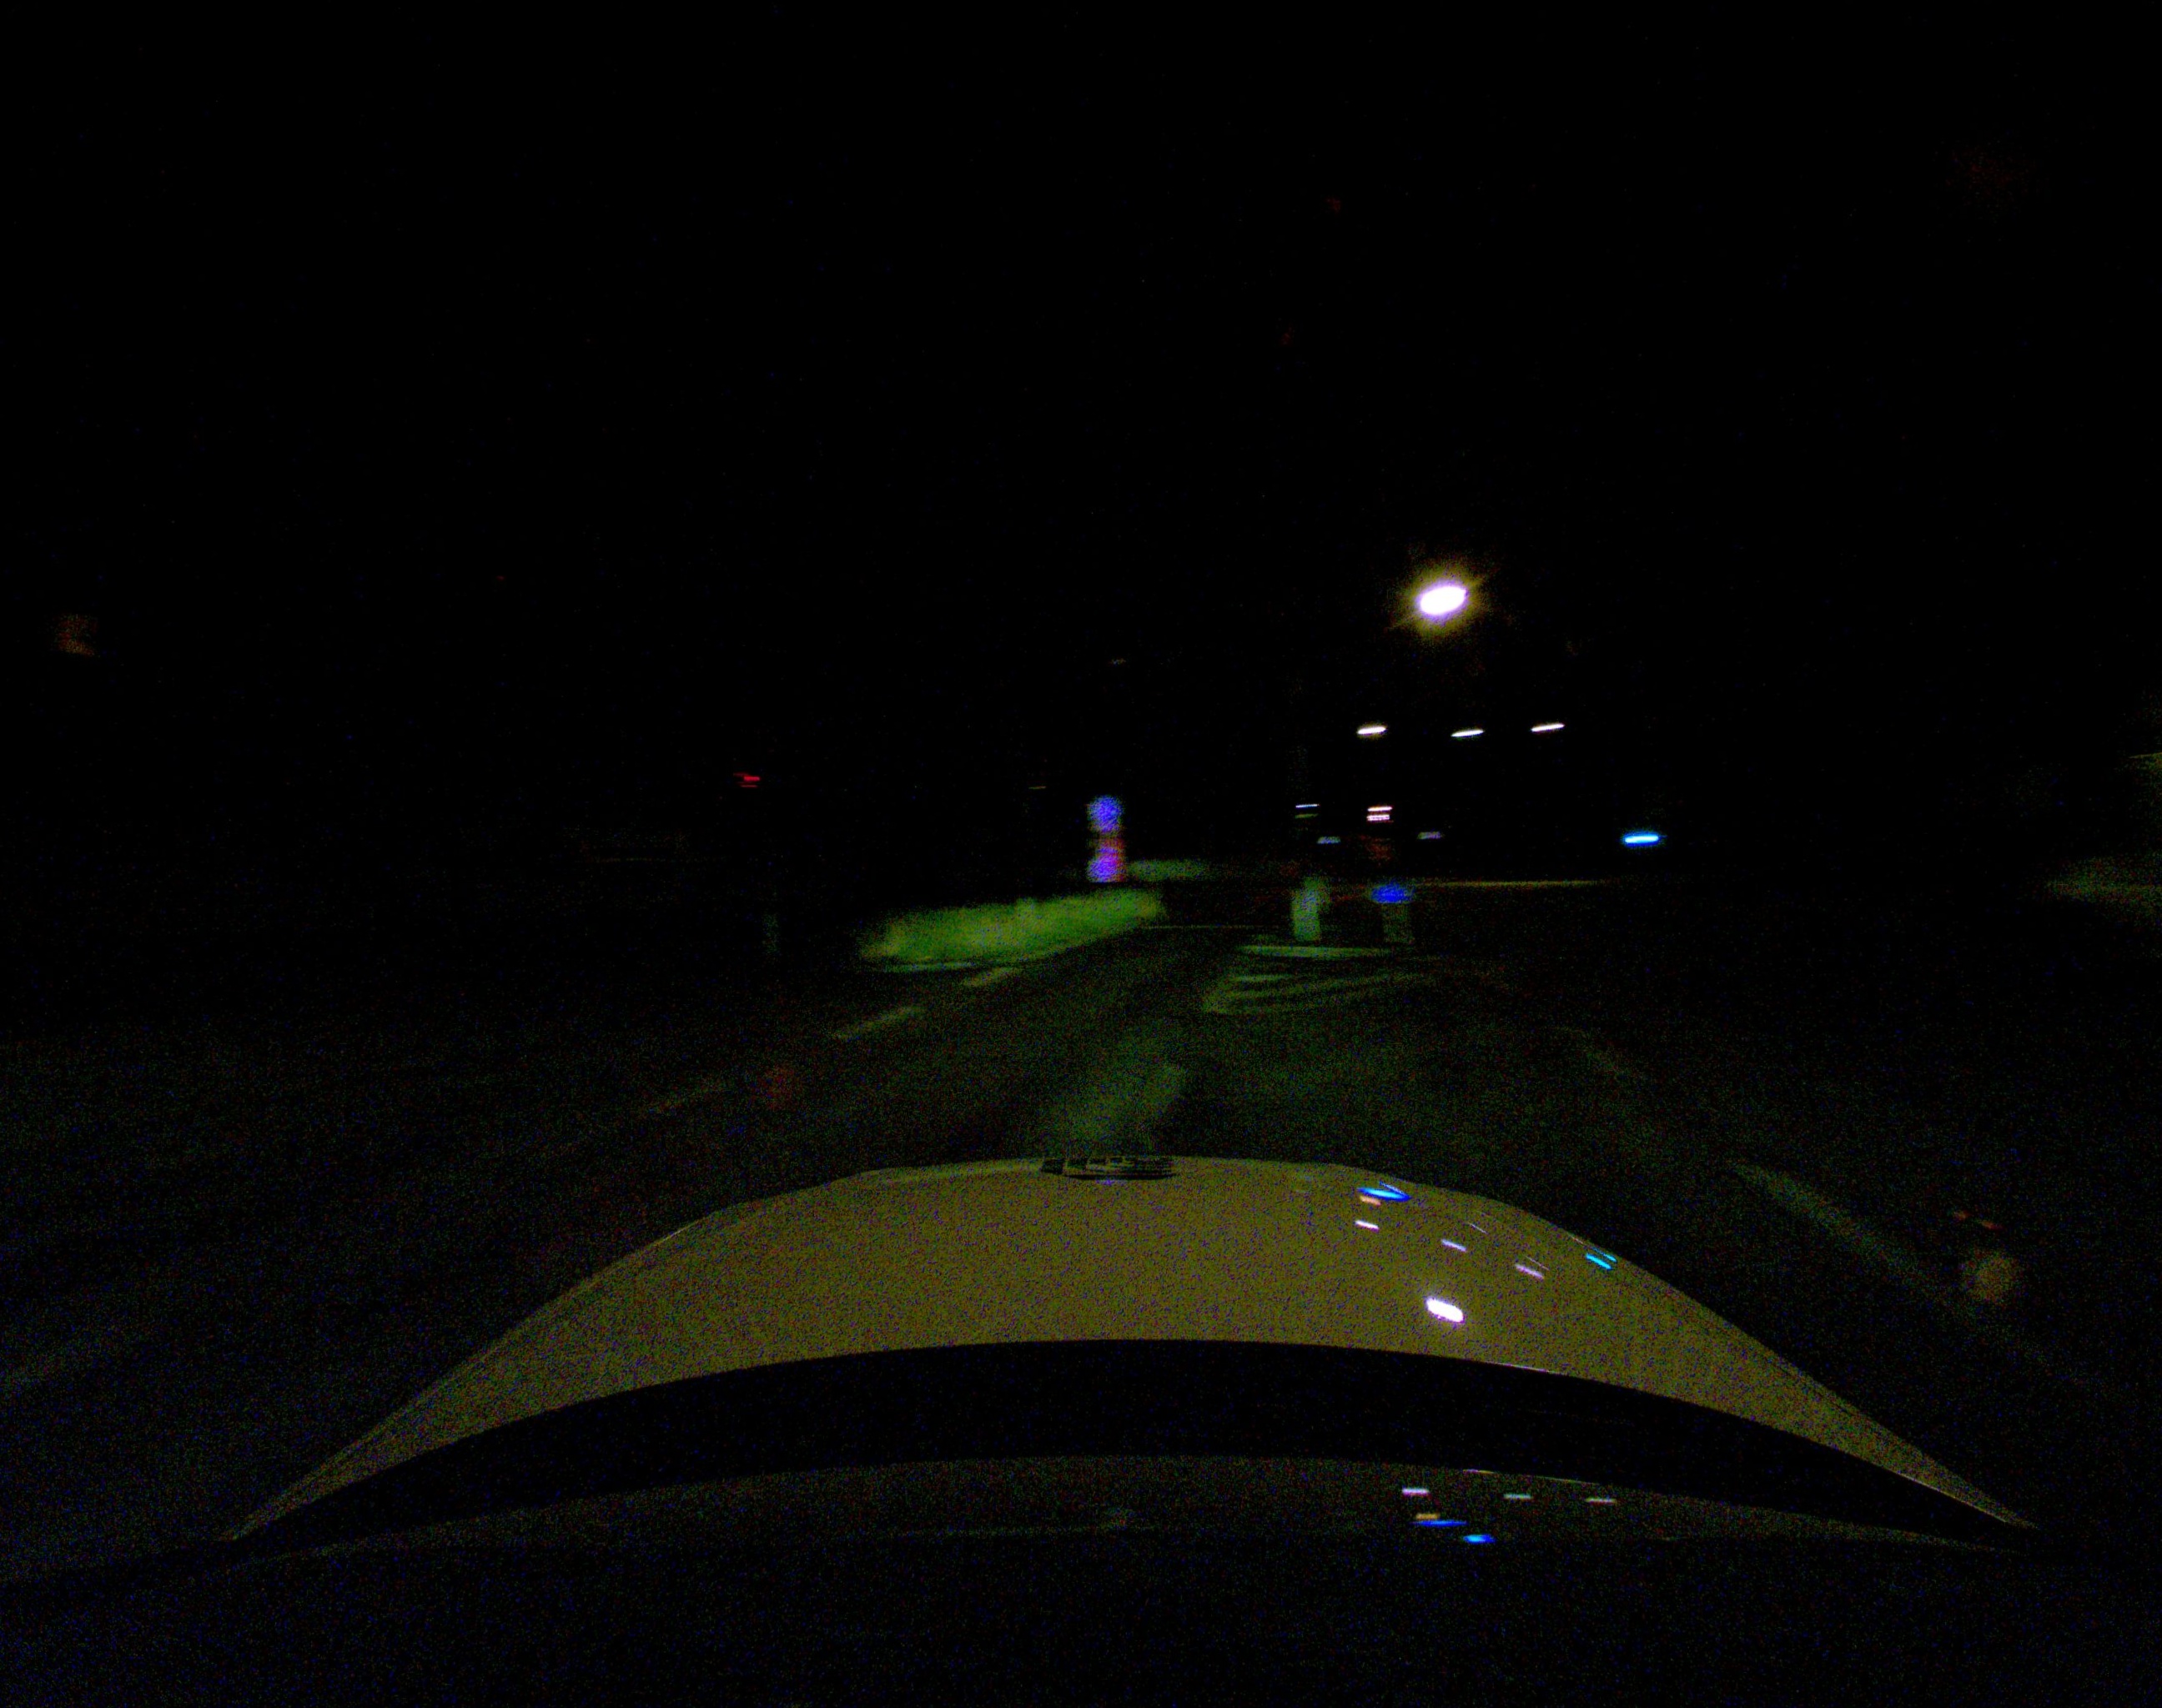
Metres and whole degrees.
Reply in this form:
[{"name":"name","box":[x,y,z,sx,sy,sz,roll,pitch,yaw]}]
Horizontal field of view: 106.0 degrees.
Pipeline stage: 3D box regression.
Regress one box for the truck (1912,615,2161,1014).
[{"name":"truck","box":[9.305,-0.373,5.072,2.741,3.044,7.070,-5,-1,19]}]

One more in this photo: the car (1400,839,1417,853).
[{"name":"car","box":[43.643,-1.097,108.554,1.977,1.769,4.020,-2,0,19]}]
